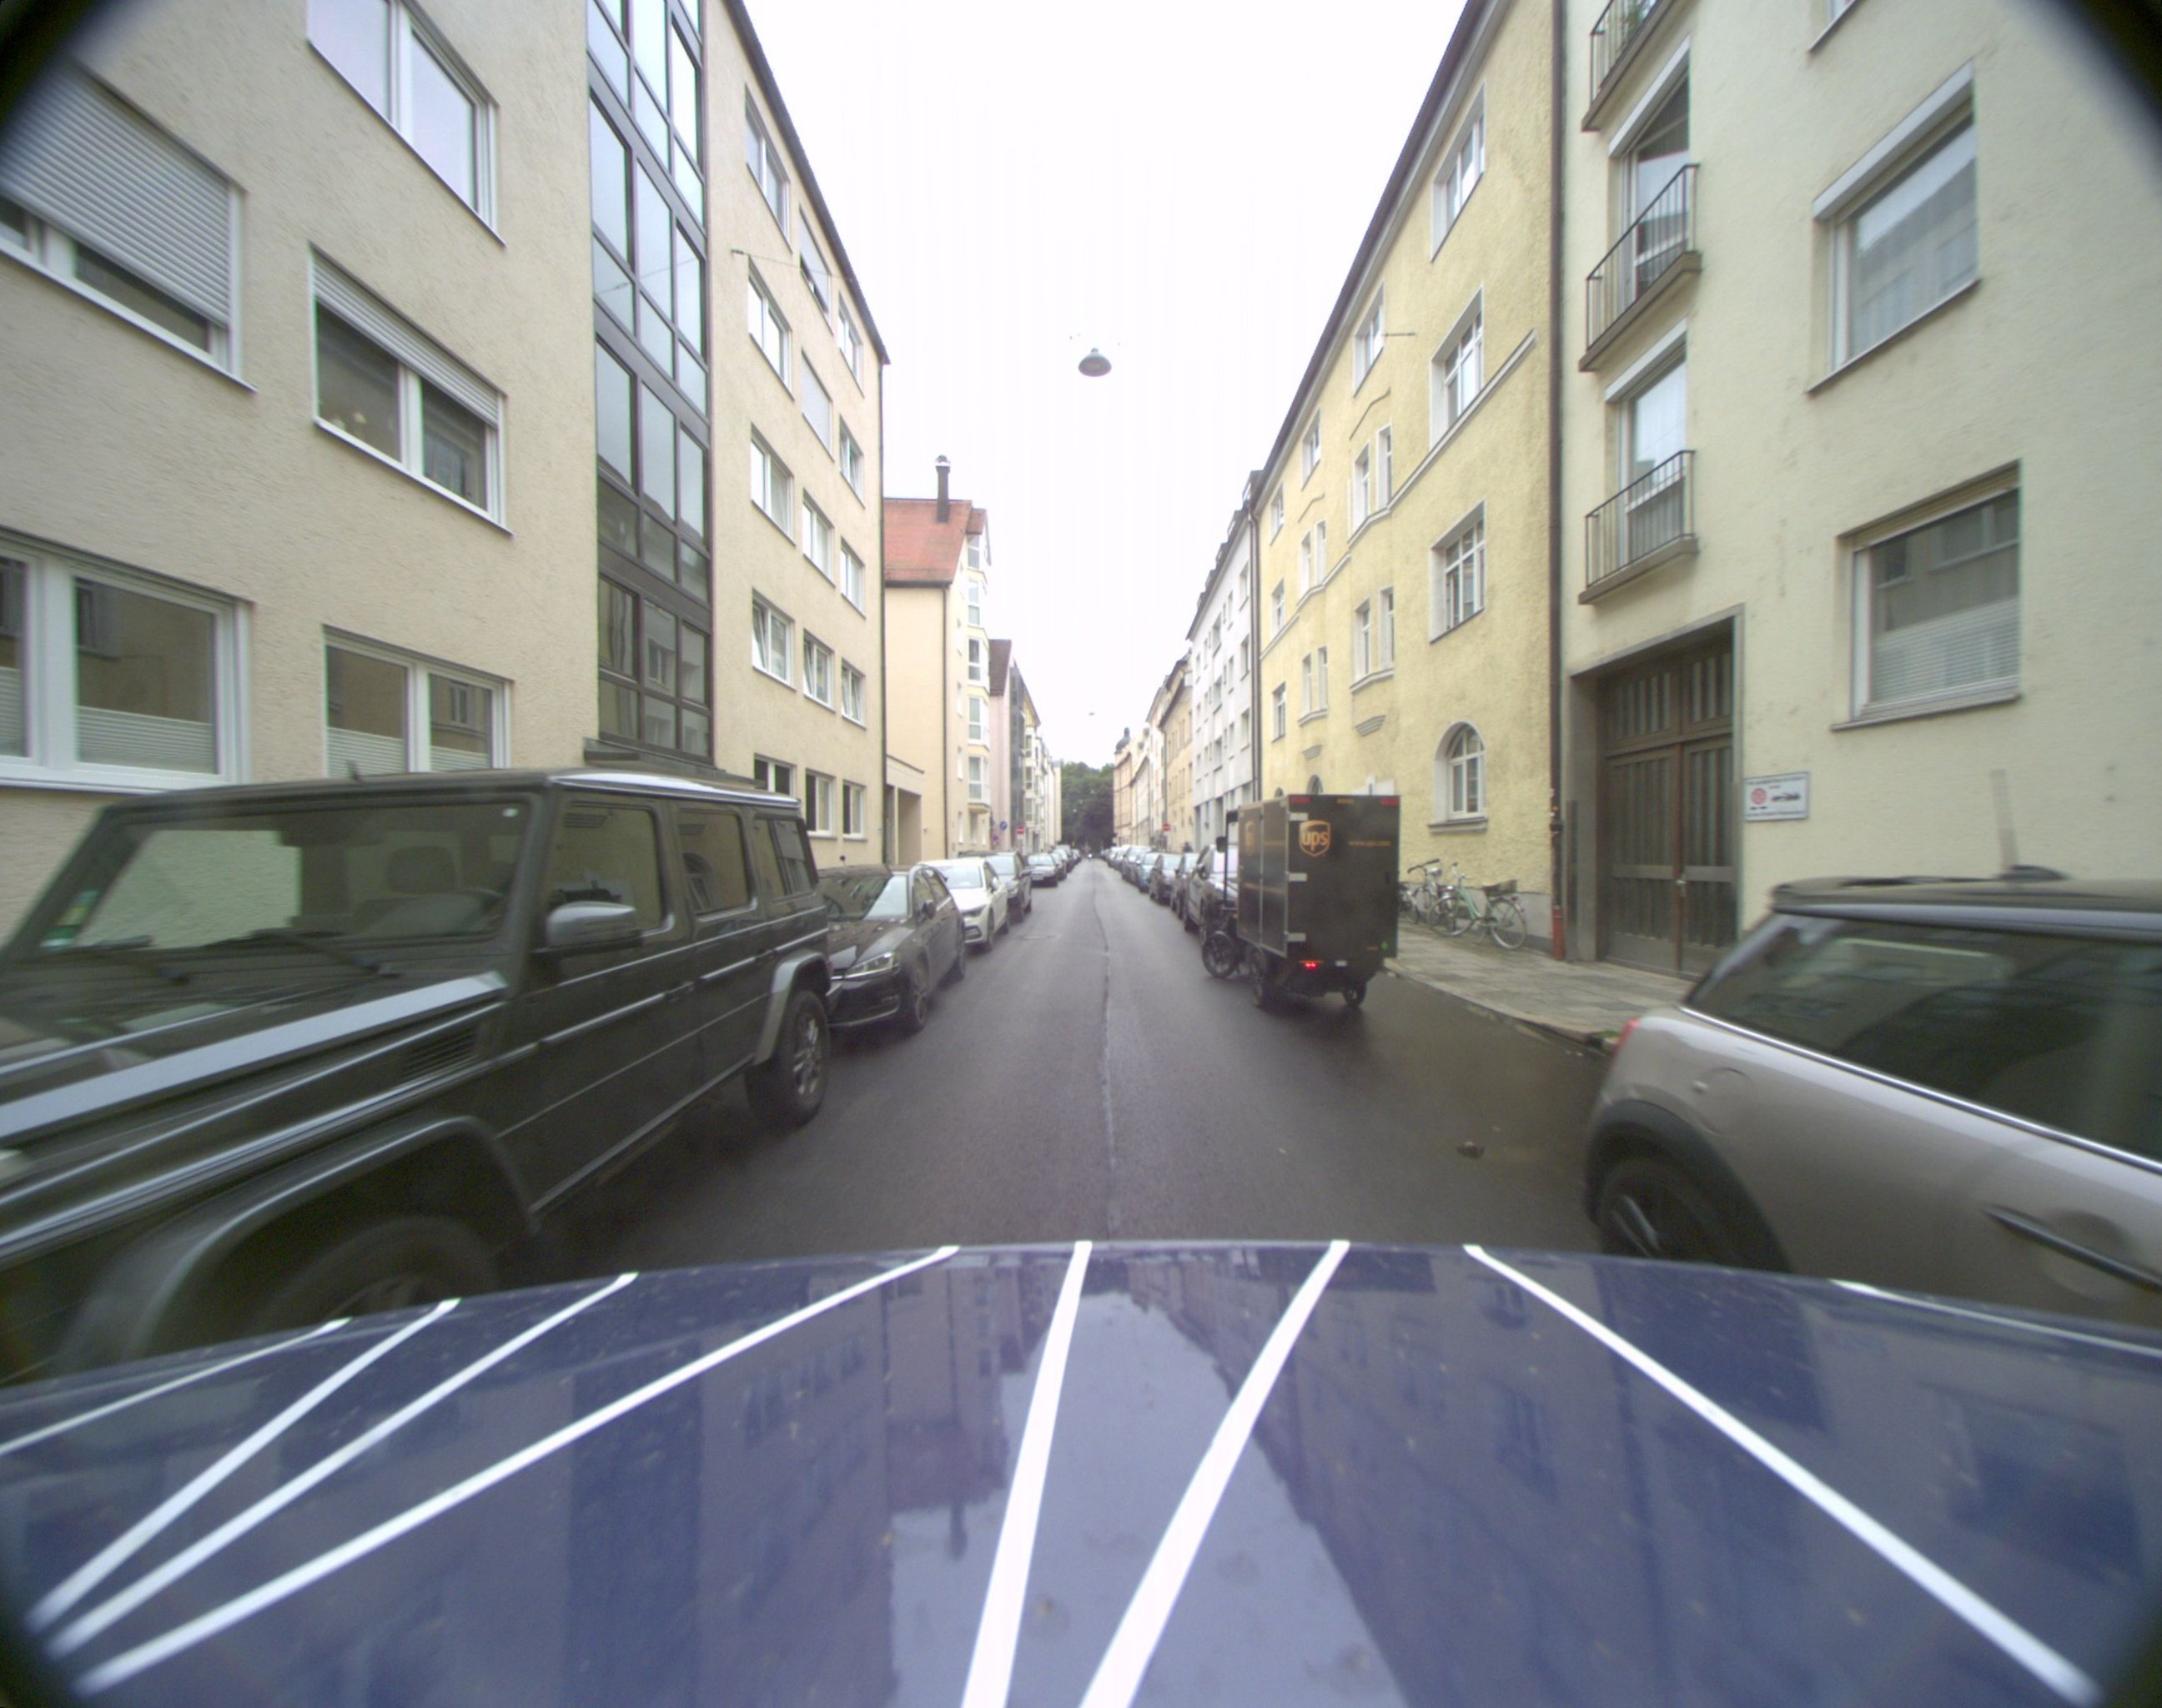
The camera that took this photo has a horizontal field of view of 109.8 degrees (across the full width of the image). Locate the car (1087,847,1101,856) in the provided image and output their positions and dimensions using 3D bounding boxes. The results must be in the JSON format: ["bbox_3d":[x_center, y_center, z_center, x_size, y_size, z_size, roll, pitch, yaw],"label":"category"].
[{"bbox_3d":[2.412,-0.486,139.711,1.800,1.501,3.996,1,1,-10],"label":"car"}]

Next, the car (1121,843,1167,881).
[{"bbox_3d":[3.117,0.372,38.637,1.867,1.760,4.734,1,1,0],"label":"car"}]

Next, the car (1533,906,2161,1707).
[{"bbox_3d":[2.318,0.913,0.658,1.656,1.427,3.802,0,1,2],"label":"car"}]

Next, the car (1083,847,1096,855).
[{"bbox_3d":[1.596,-0.528,143.816,1.800,1.501,3.996,1,1,-10],"label":"car"}]

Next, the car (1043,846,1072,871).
[{"bbox_3d":[-1.584,0.275,52.624,1.837,1.612,4.410,-2,1,0],"label":"car"}]

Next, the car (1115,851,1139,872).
[{"bbox_3d":[3.445,0.538,57.678,1.676,1.467,4.112,1,1,2],"label":"car"}]

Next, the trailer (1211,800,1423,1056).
[{"bbox_3d":[2.229,0.589,7.915,1.358,2.104,3.318,-1,1,4],"label":"trailer"}]

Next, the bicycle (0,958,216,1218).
[{"bbox_3d":[-5.200,1.123,3.367,0.646,1.023,1.797,3,1,1],"label":"bicycle"}]

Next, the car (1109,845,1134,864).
[{"bbox_3d":[3.531,0.015,67.390,1.786,1.596,4.307,1,0,-2],"label":"car"}]

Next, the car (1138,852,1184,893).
[{"bbox_3d":[2.967,0.655,28.741,1.566,1.452,3.404,0,1,3],"label":"car"}]

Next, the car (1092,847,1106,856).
[{"bbox_3d":[3.159,-0.403,135.513,1.800,1.501,3.996,1,1,-10],"label":"car"}]

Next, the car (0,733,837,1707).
[{"bbox_3d":[-2.522,0.841,2.859,1.755,1.964,4.342,-3,0,-1],"label":"car"}]

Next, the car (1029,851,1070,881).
[{"bbox_3d":[-1.613,0.570,40.059,1.837,1.398,4.410,-2,1,1],"label":"car"}]

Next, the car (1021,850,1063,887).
[{"bbox_3d":[-1.683,0.596,34.173,1.721,1.463,4.530,-2,1,-2],"label":"car"}]

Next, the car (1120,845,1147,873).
[{"bbox_3d":[3.588,0.293,52.646,1.728,1.779,4.248,1,2,3],"label":"car"}]

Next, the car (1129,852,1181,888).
[{"bbox_3d":[3.162,0.650,33.337,1.816,1.378,4.250,1,1,0],"label":"car"}]

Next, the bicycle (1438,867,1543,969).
[{"bbox_3d":[5.742,0.854,10.749,0.595,1.271,1.551,-3,1,0],"label":"bicycle"}]

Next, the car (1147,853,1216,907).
[{"bbox_3d":[2.931,0.717,22.762,1.567,1.452,3.763,0,1,0],"label":"car"}]

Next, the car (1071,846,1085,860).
[{"bbox_3d":[-0.362,-0.139,96.993,1.739,1.743,3.685,-2,1,0],"label":"car"}]

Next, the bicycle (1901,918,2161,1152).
[{"bbox_3d":[5.610,0.931,3.981,0.696,1.021,1.814,-2,0,2],"label":"bicycle"}]

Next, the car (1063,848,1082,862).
[{"bbox_3d":[-0.947,0.131,81.891,1.749,1.433,4.227,-2,1,-3],"label":"car"}]

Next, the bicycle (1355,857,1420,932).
[{"bbox_3d":[5.688,0.720,14.198,0.536,1.271,1.551,-3,1,0],"label":"bicycle"}]

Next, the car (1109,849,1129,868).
[{"bbox_3d":[4.091,0.460,81.912,1.951,1.850,4.908,1,1,1],"label":"car"}]

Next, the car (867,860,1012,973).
[{"bbox_3d":[-2.231,0.914,13.089,1.716,1.477,4.243,-2,1,-1],"label":"car"}]

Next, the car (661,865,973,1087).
[{"bbox_3d":[-2.269,0.945,7.798,1.716,1.477,4.243,-2,1,-1],"label":"car"}]

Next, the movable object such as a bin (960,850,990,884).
[{"bbox_3d":[-4.580,0.538,32.978,1.034,1.415,1.586,1,1,1],"label":"movable object such as a bin"}]

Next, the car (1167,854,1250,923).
[{"bbox_3d":[2.944,0.751,18.149,1.566,1.452,3.475,0,1,3],"label":"car"}]

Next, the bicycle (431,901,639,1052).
[{"bbox_3d":[-5.075,1.075,7.224,0.656,1.100,1.760,3,1,1],"label":"bicycle"}]

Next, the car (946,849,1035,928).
[{"bbox_3d":[-2.039,0.720,18.213,1.716,1.599,4.242,-2,1,-2],"label":"car"}]

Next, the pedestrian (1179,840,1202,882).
[{"bbox_3d":[4.763,0.293,33.034,0.841,1.754,1.067,-1,1,1],"label":"pedestrian"}]

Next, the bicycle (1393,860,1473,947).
[{"bbox_3d":[5.740,0.770,12.469,0.536,1.271,1.551,-3,1,0],"label":"bicycle"}]

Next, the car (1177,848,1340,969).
[{"bbox_3d":[2.732,0.735,12.739,1.883,1.650,4.415,0,1,3],"label":"car"}]

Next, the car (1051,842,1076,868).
[{"bbox_3d":[-1.451,0.054,63.745,1.877,2.002,5.105,-2,1,0],"label":"car"}]
